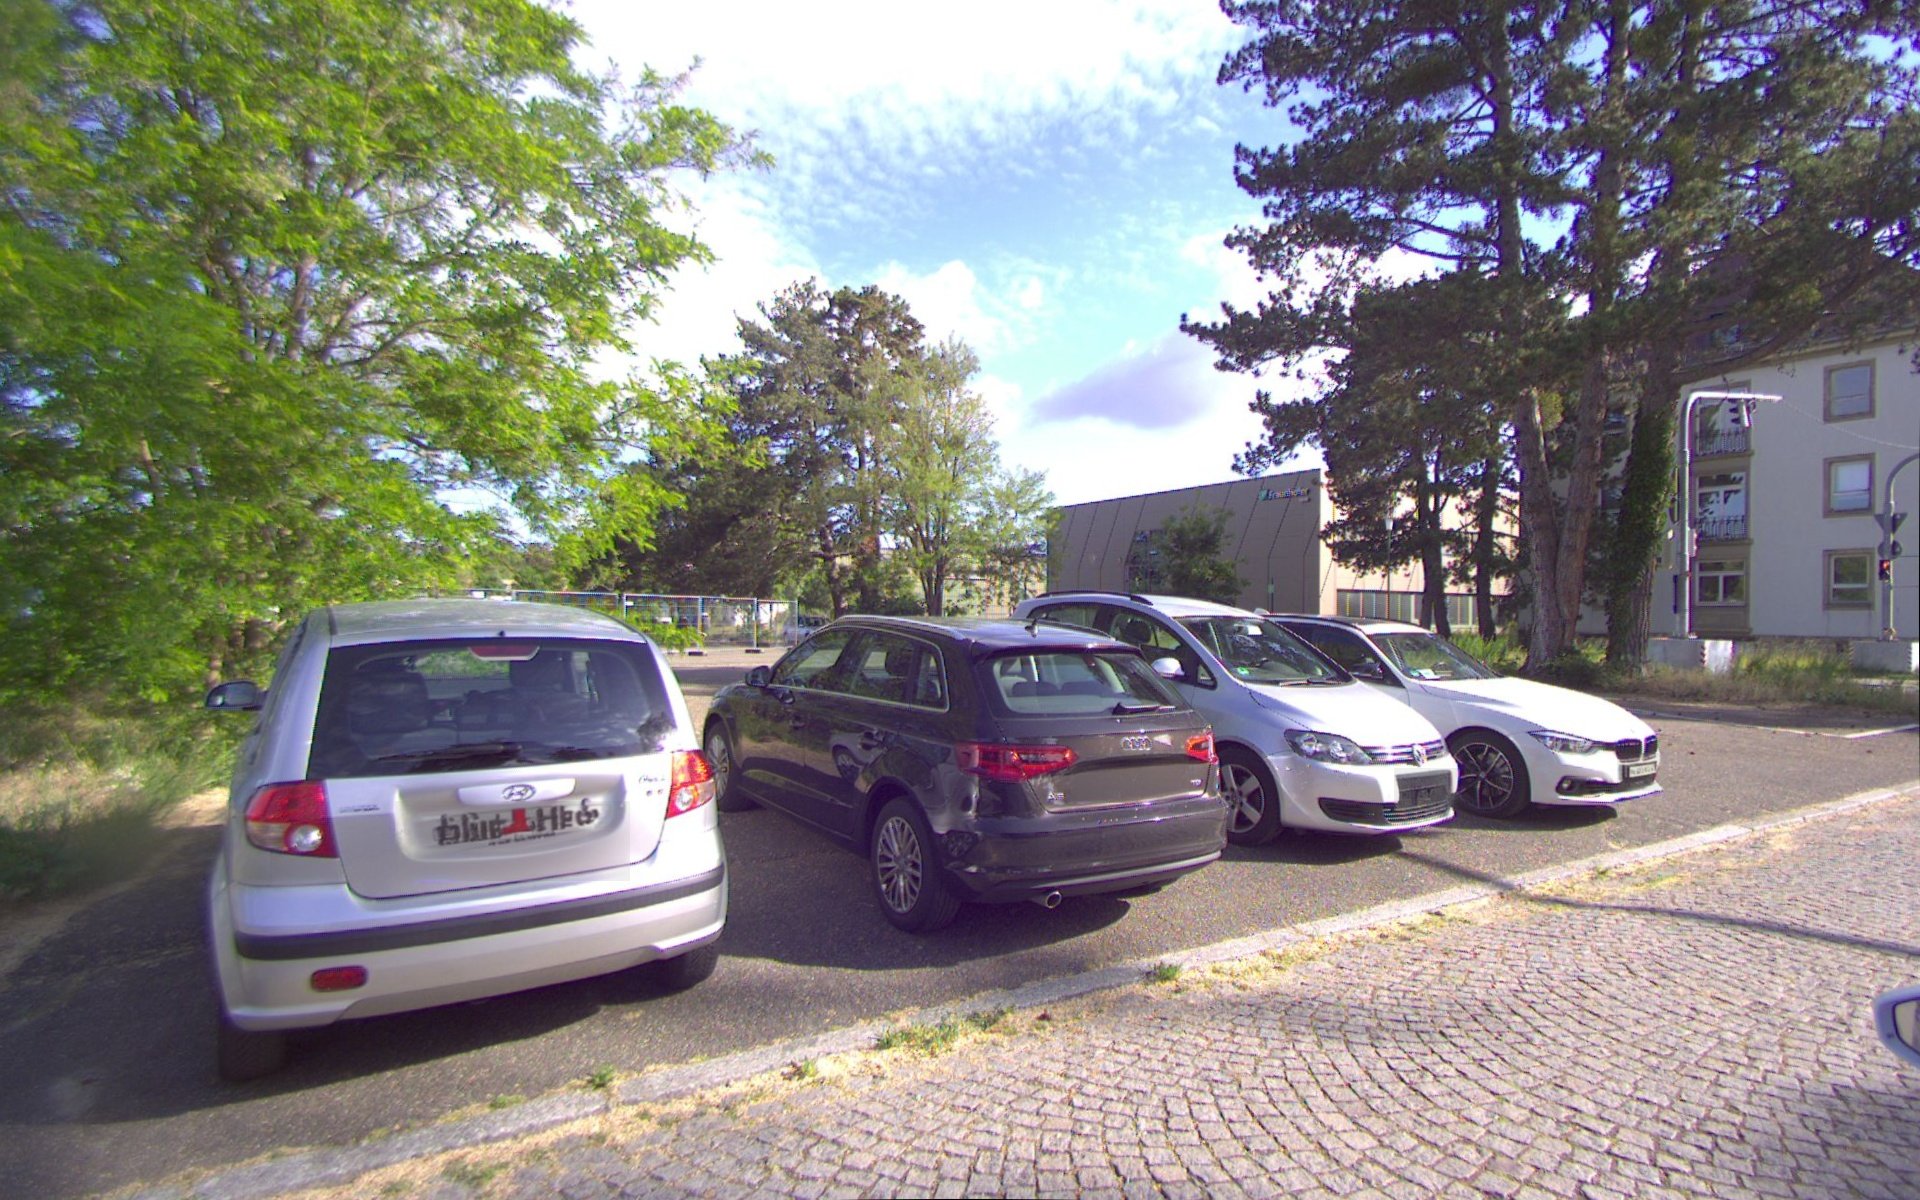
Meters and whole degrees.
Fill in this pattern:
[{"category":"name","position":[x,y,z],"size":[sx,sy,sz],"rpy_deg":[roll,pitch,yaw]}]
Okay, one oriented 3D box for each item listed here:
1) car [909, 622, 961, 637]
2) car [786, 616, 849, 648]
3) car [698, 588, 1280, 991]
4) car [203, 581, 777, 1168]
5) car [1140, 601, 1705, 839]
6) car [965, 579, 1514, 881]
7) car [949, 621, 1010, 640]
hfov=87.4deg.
[{"category":"car","position":[-1.881,2.228,74.879],"size":[3.634,1.090,1.400],"rpy_deg":[1,-1,-28]},{"category":"car","position":[-6.601,1.448,46.271],"size":[1.726,1.388,3.595],"rpy_deg":[1,-1,-29]},{"category":"car","position":[-0.164,0.759,6.061],"size":[1.669,1.491,3.775],"rpy_deg":[1,2,-32]},{"category":"car","position":[-2.285,0.729,4.585],"size":[1.619,1.491,3.443],"rpy_deg":[1,2,-33]},{"category":"car","position":[3.892,0.843,9.319],"size":[1.734,1.487,4.513],"rpy_deg":[1,2,-33]},{"category":"car","position":[1.880,0.730,7.864],"size":[1.705,1.648,3.917],"rpy_deg":[1,2,-35]},{"category":"car","position":[1.311,2.092,68.368],"size":[3.950,1.221,1.481],"rpy_deg":[1,-1,-28]}]
